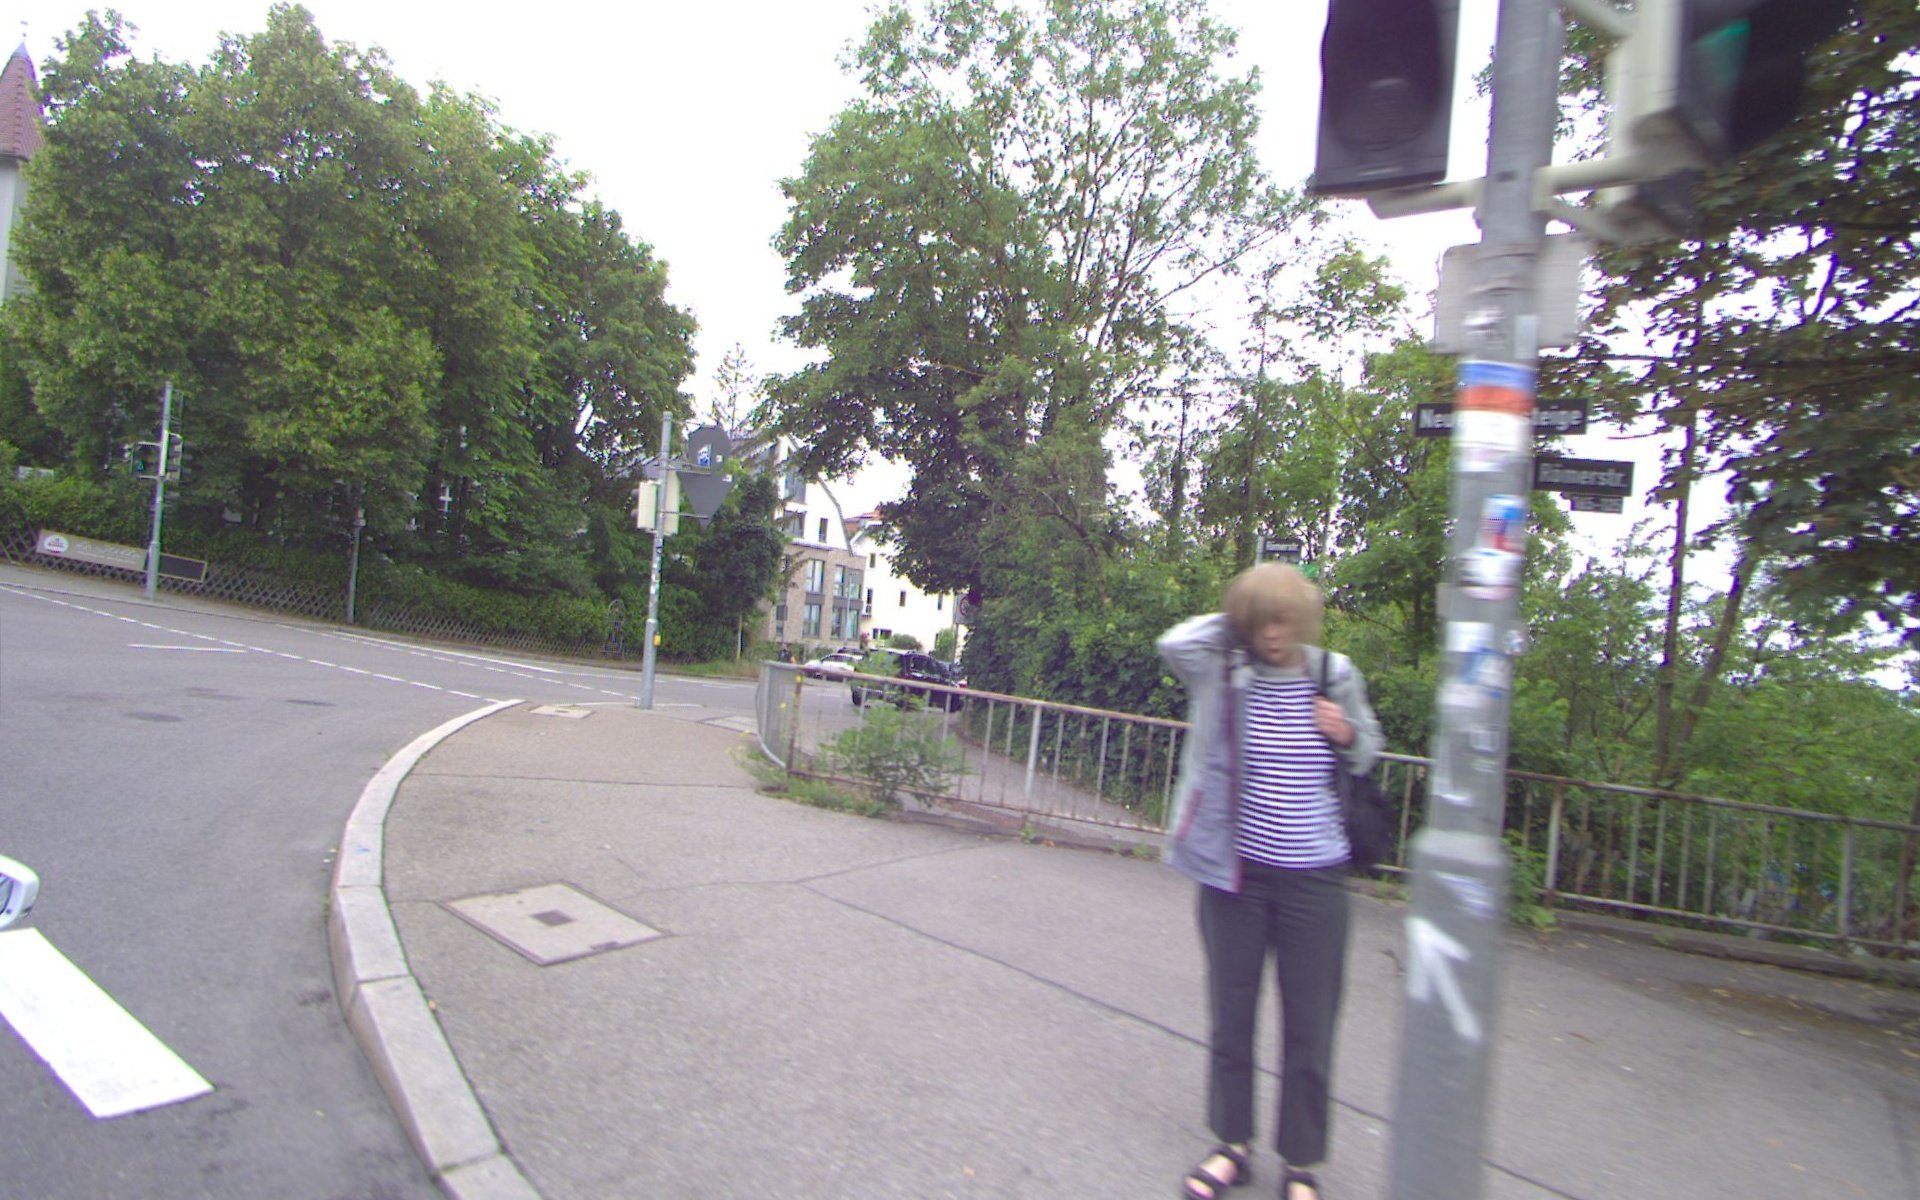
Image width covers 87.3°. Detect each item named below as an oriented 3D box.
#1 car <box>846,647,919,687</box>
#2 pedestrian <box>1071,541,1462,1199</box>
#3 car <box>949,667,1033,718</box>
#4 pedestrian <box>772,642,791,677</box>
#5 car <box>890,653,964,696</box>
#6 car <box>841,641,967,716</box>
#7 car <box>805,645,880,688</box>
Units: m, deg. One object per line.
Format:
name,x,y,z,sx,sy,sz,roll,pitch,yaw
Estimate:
car,-4.061,3.489,52.543,3.413,1.533,1.434,7,-3,33
pedestrian,0.731,0.753,2.630,0.608,1.710,0.695,6,1,-1
car,1.129,3.249,34.958,1.600,1.470,3.785,6,-4,21
pedestrian,-8.254,2.764,46.555,0.504,1.533,0.523,9,-2,11
car,-1.879,4.245,57.097,3.652,1.788,1.678,7,-3,33
car,-1.459,2.273,28.214,1.715,1.636,4.275,8,-4,21
car,-5.908,3.325,50.404,3.413,1.533,1.434,7,-3,33
